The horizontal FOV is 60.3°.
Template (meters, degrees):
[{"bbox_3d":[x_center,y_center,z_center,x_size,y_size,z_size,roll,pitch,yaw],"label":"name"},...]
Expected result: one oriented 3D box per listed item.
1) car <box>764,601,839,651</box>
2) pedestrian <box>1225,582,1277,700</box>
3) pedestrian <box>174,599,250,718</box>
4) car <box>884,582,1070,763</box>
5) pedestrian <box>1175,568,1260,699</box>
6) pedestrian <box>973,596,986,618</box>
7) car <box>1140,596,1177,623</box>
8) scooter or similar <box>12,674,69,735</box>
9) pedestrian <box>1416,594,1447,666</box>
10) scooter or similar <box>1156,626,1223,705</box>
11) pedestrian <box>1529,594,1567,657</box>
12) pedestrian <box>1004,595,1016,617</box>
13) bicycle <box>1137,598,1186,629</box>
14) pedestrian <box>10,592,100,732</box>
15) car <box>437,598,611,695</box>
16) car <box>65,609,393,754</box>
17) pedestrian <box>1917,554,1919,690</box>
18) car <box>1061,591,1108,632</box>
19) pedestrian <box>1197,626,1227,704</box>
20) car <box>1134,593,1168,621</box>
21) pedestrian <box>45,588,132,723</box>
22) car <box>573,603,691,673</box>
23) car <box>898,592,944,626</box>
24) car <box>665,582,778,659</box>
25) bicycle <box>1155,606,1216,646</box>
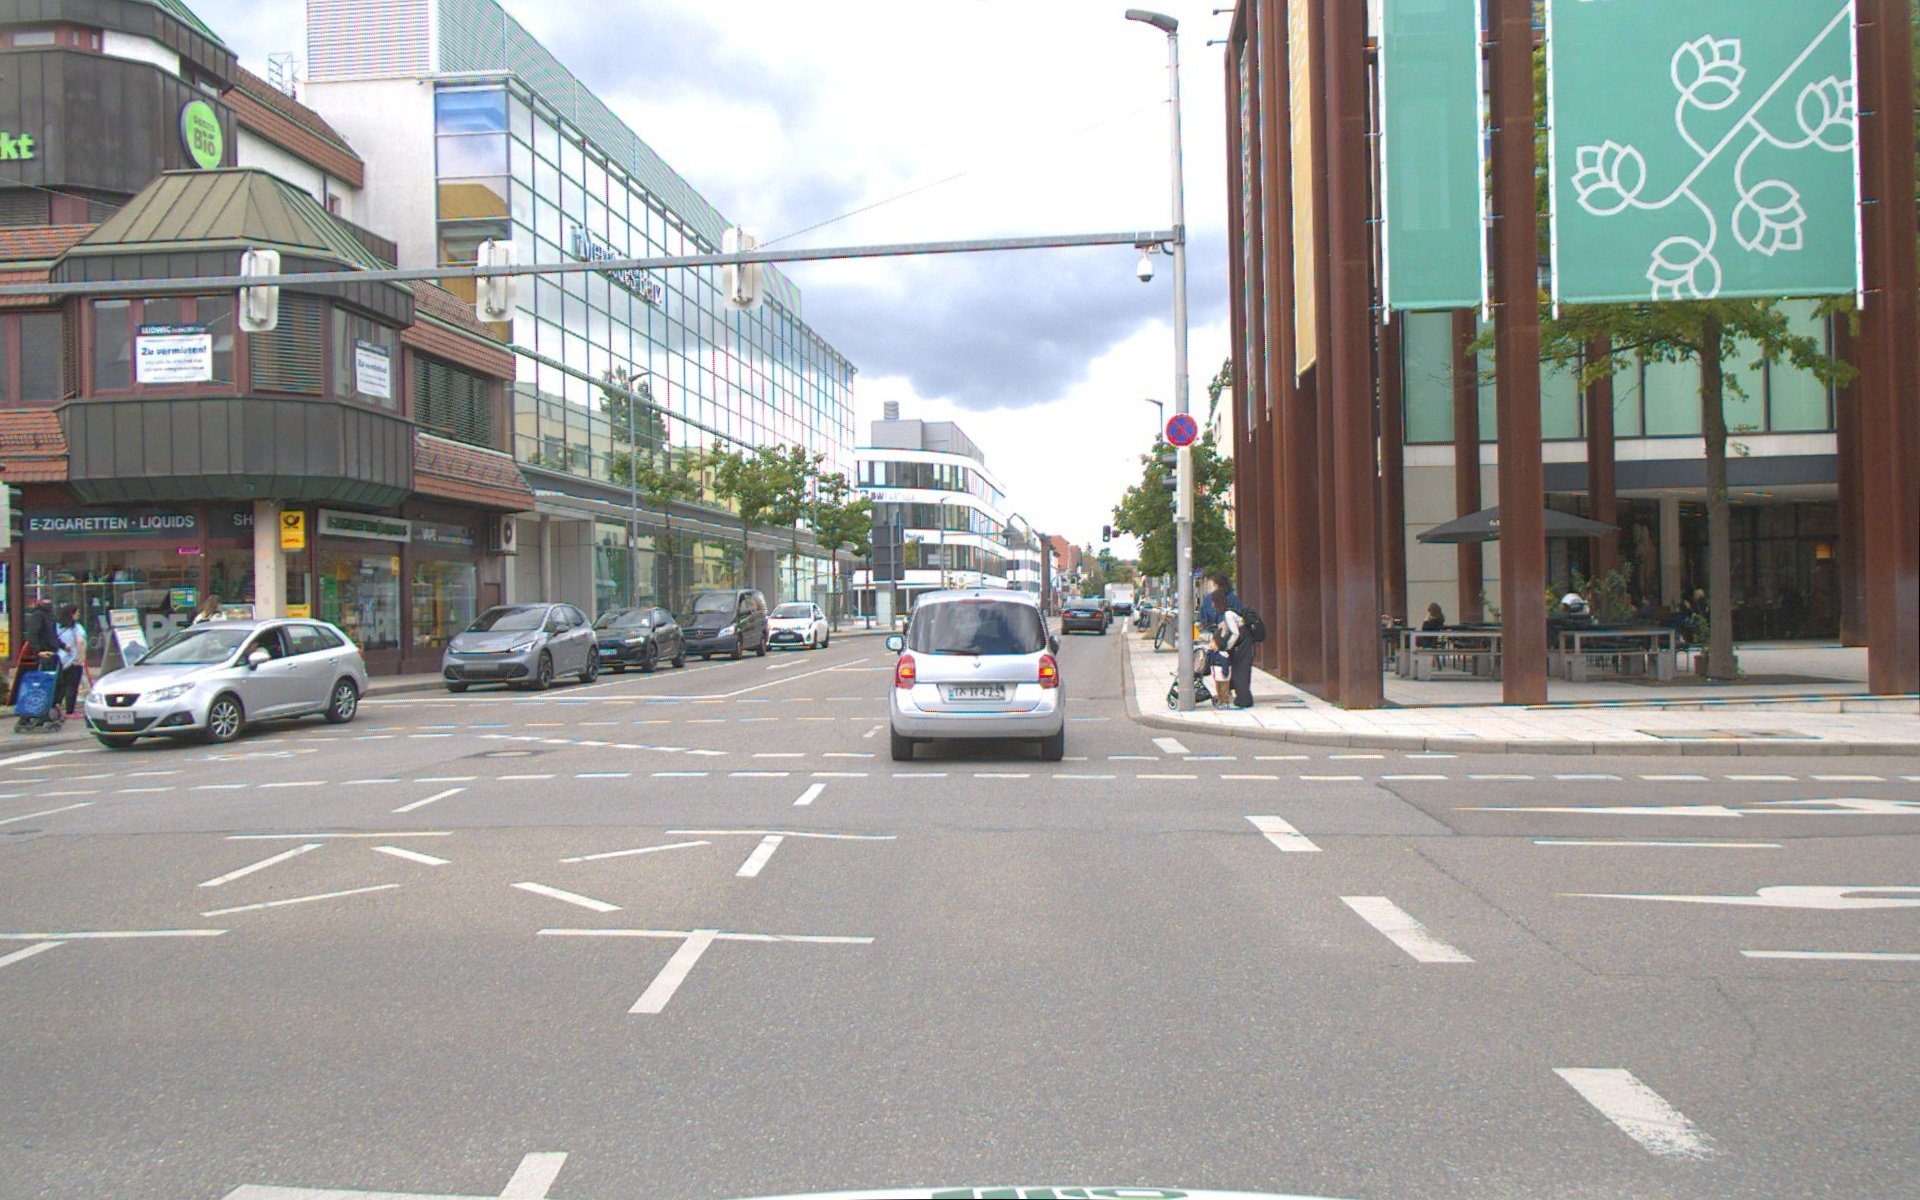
[{"bbox_3d":[-5.136,0.815,53.883,1.625,1.491,4.003,-2,0,6],"label":"car"},{"bbox_3d":[3.609,0.504,20.555,0.588,1.445,0.583,-1,0,8],"label":"pedestrian"},{"bbox_3d":[-11.107,0.853,24.583,0.733,1.722,0.777,-1,0,1],"label":"pedestrian"},{"bbox_3d":[0.259,0.631,16.515,1.635,1.581,3.644,1,0,3],"label":"car"},{"bbox_3d":[3.377,0.431,21.685,0.856,1.675,0.677,-1,0,40],"label":"pedestrian"},{"bbox_3d":[1.621,0.611,140.420,0.940,1.865,1.251,-2,0,6],"label":"pedestrian"},{"bbox_3d":[10.425,0.484,87.108,1.837,1.358,4.003,1,0,6],"label":"car"},{"bbox_3d":[-11.959,1.352,21.516,0.445,0.739,0.538,-1,0,-2],"label":"scooter or similar"},{"bbox_3d":[8.321,0.521,29.192,0.438,1.241,0.607,-1,0,10],"label":"pedestrian"},{"bbox_3d":[2.943,0.828,21.205,0.623,0.978,0.618,-1,0,39],"label":"scooter or similar"},{"bbox_3d":[11.801,0.497,33.181,0.504,1.229,0.796,-1,1,4],"label":"pedestrian"},{"bbox_3d":[4.256,0.531,141.067,0.940,1.865,1.251,-2,0,6],"label":"pedestrian"},{"bbox_3d":[7.674,0.503,62.946,1.787,1.093,0.753,-2,0,4],"label":"bicycle"},{"bbox_3d":[-12.117,0.815,22.158,0.794,1.840,0.746,0,0,-3],"label":"pedestrian"},{"bbox_3d":[-7.972,0.806,30.668,1.721,1.543,4.389,-3,1,4],"label":"car"},{"bbox_3d":[-9.189,0.964,21.225,1.600,1.442,4.203,-3,1,13],"label":"car"},{"bbox_3d":[10.686,0.359,17.165,0.860,1.711,1.121,-1,0,3],"label":"pedestrian"},{"bbox_3d":[5.004,0.447,66.136,1.634,1.581,3.645,1,0,8],"label":"car"},{"bbox_3d":[3.140,0.808,20.615,0.354,0.940,0.455,-1,0,8],"label":"pedestrian"},{"bbox_3d":[10.794,0.396,93.589,1.837,1.535,4.003,1,0,6],"label":"car"},{"bbox_3d":[-12.116,0.759,23.015,0.794,1.840,0.775,0,0,-3],"label":"pedestrian"},{"bbox_3d":[-7.412,0.827,37.722,1.666,1.468,4.002,-1,0,4],"label":"car"},{"bbox_3d":[-1.823,0.393,78.460,1.625,1.506,4.003,-2,0,6],"label":"car"},{"bbox_3d":[-6.502,0.524,45.706,1.826,1.943,5.117,-2,0,6],"label":"car"},{"bbox_3d":[5.871,0.671,43.049,1.527,1.010,0.753,-1,0,9],"label":"bicycle"}]
